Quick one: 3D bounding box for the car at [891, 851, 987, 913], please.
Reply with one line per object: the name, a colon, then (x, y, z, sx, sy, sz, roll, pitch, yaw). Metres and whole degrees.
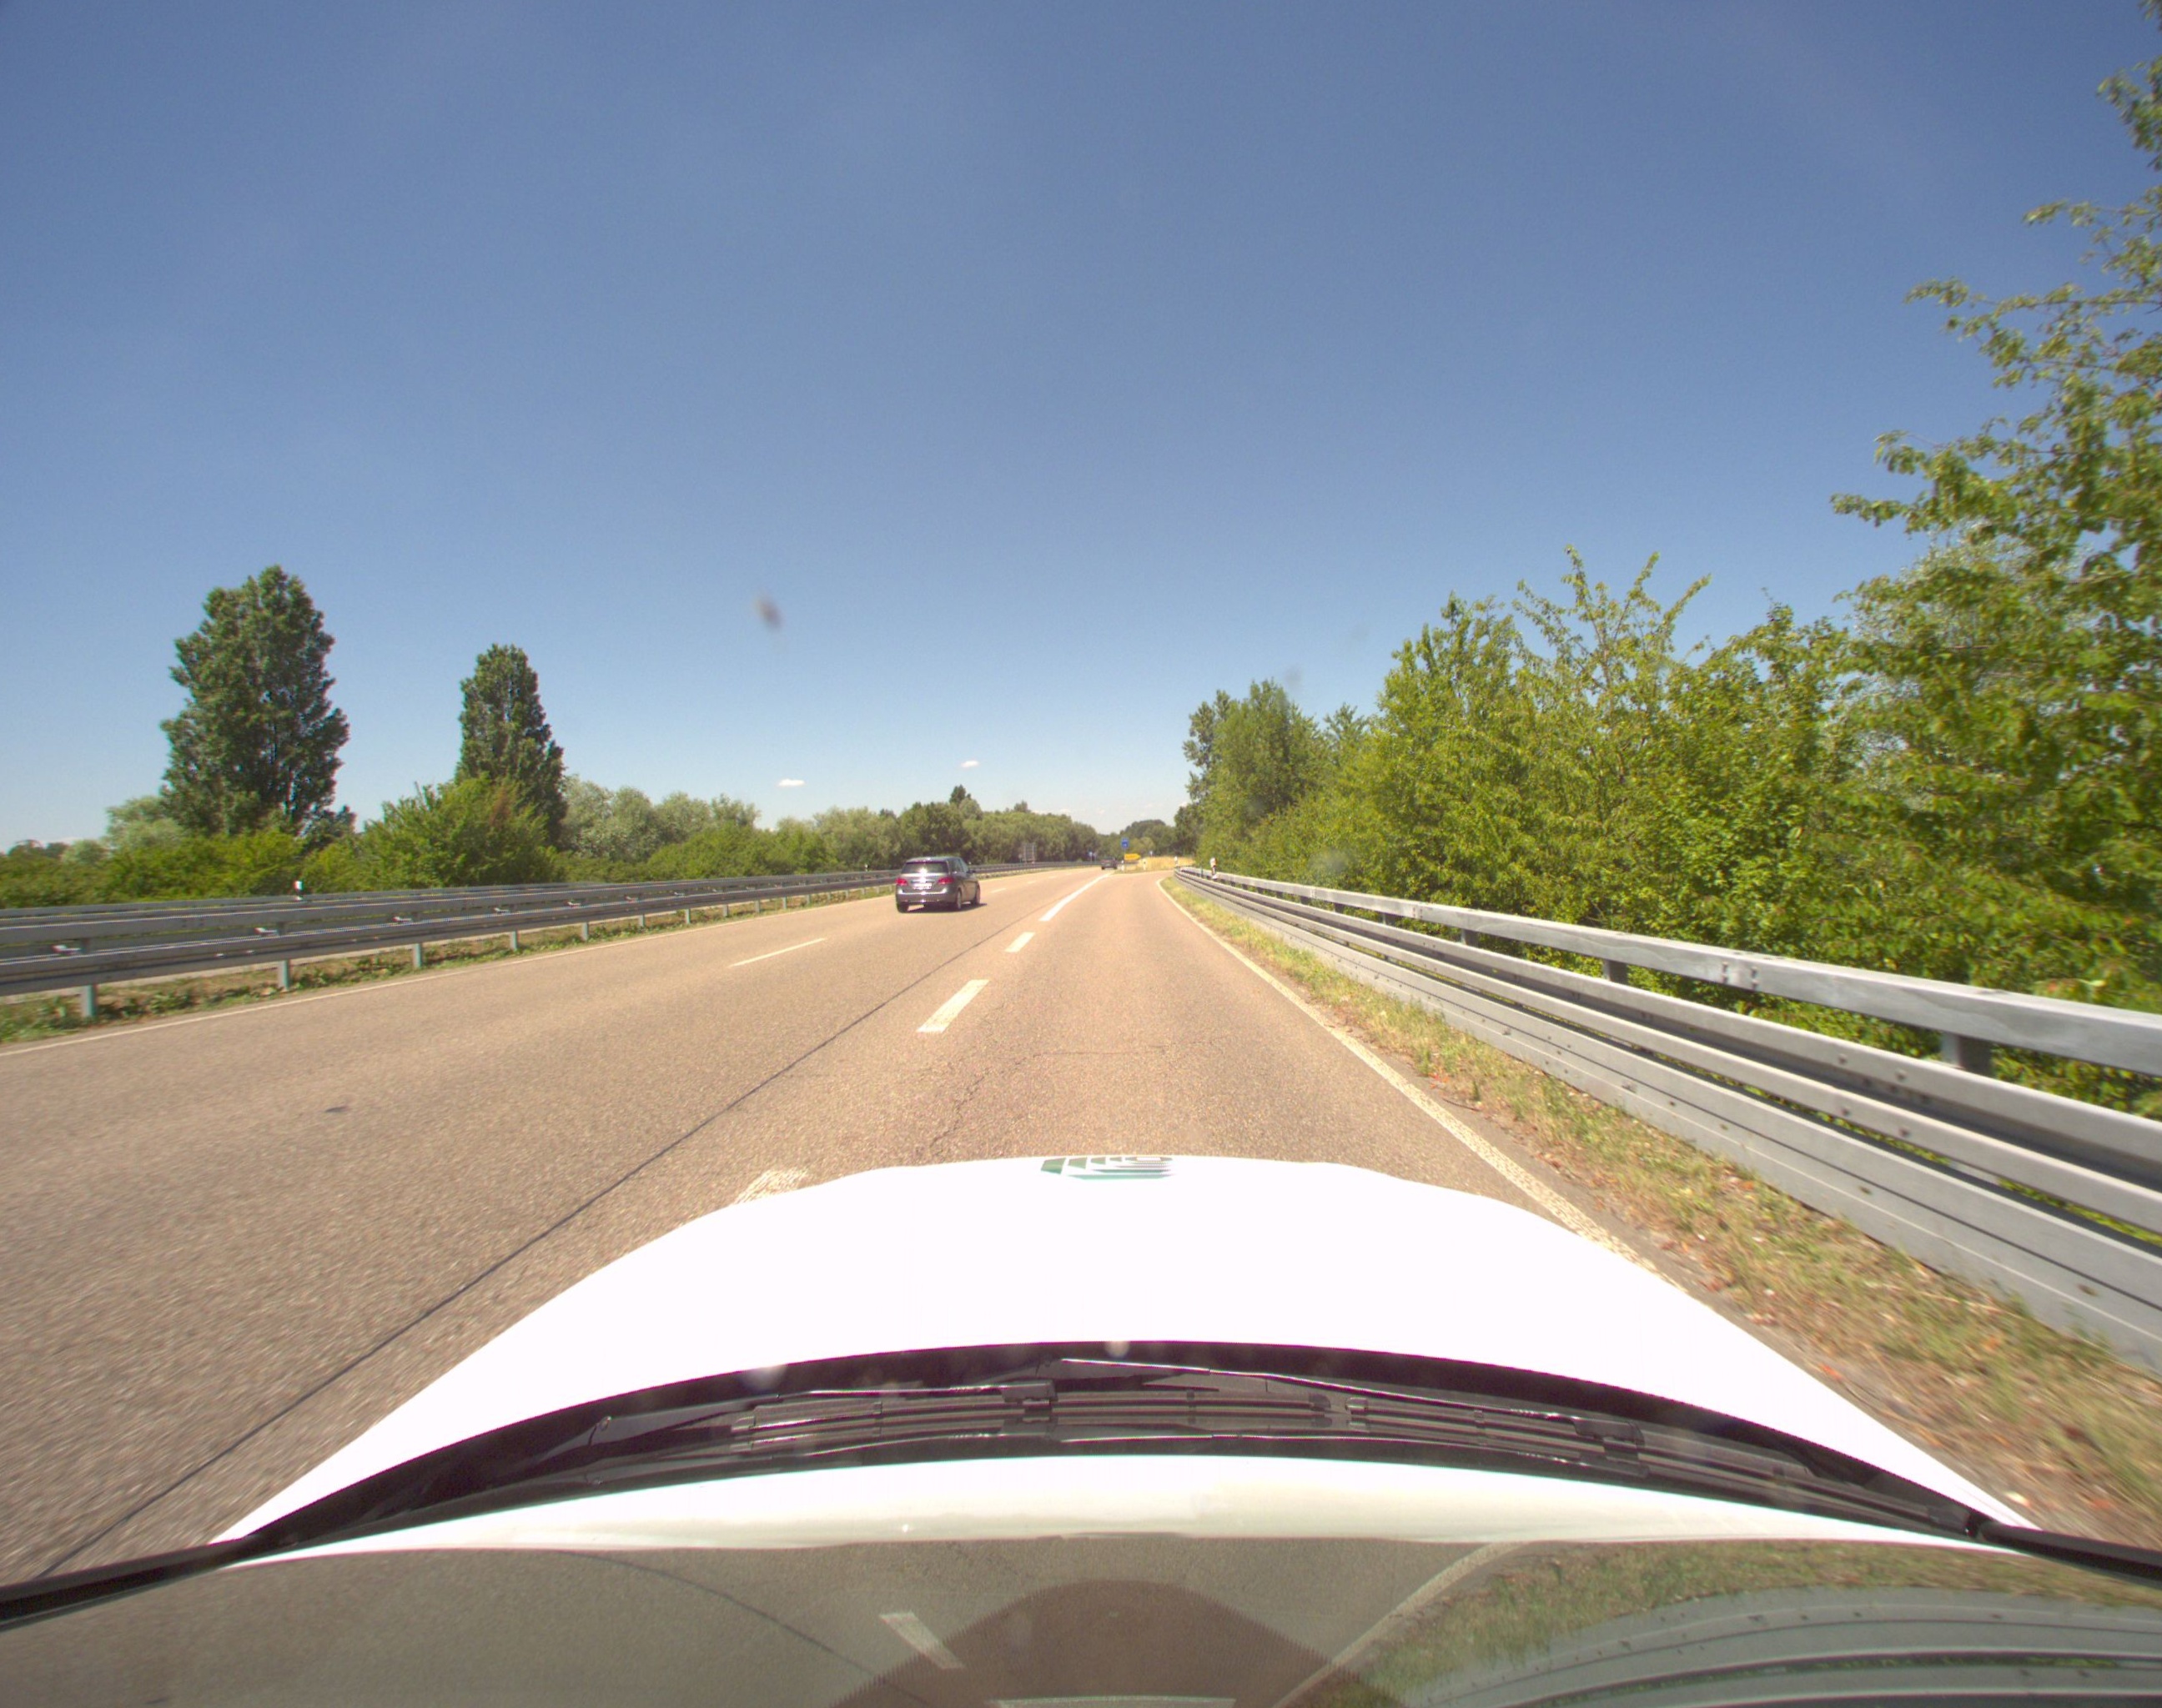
car: (-4.160, 0.760, 24.568, 1.785, 1.667, 4.559, -1, 1, 4)

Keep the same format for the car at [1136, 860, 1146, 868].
car: (12.443, 2.035, 168.436, 1.830, 1.464, 4.010, 0, 1, 8)

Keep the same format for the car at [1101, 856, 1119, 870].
car: (3.687, 1.088, 101.513, 1.831, 1.529, 4.479, 0, 1, 7)
